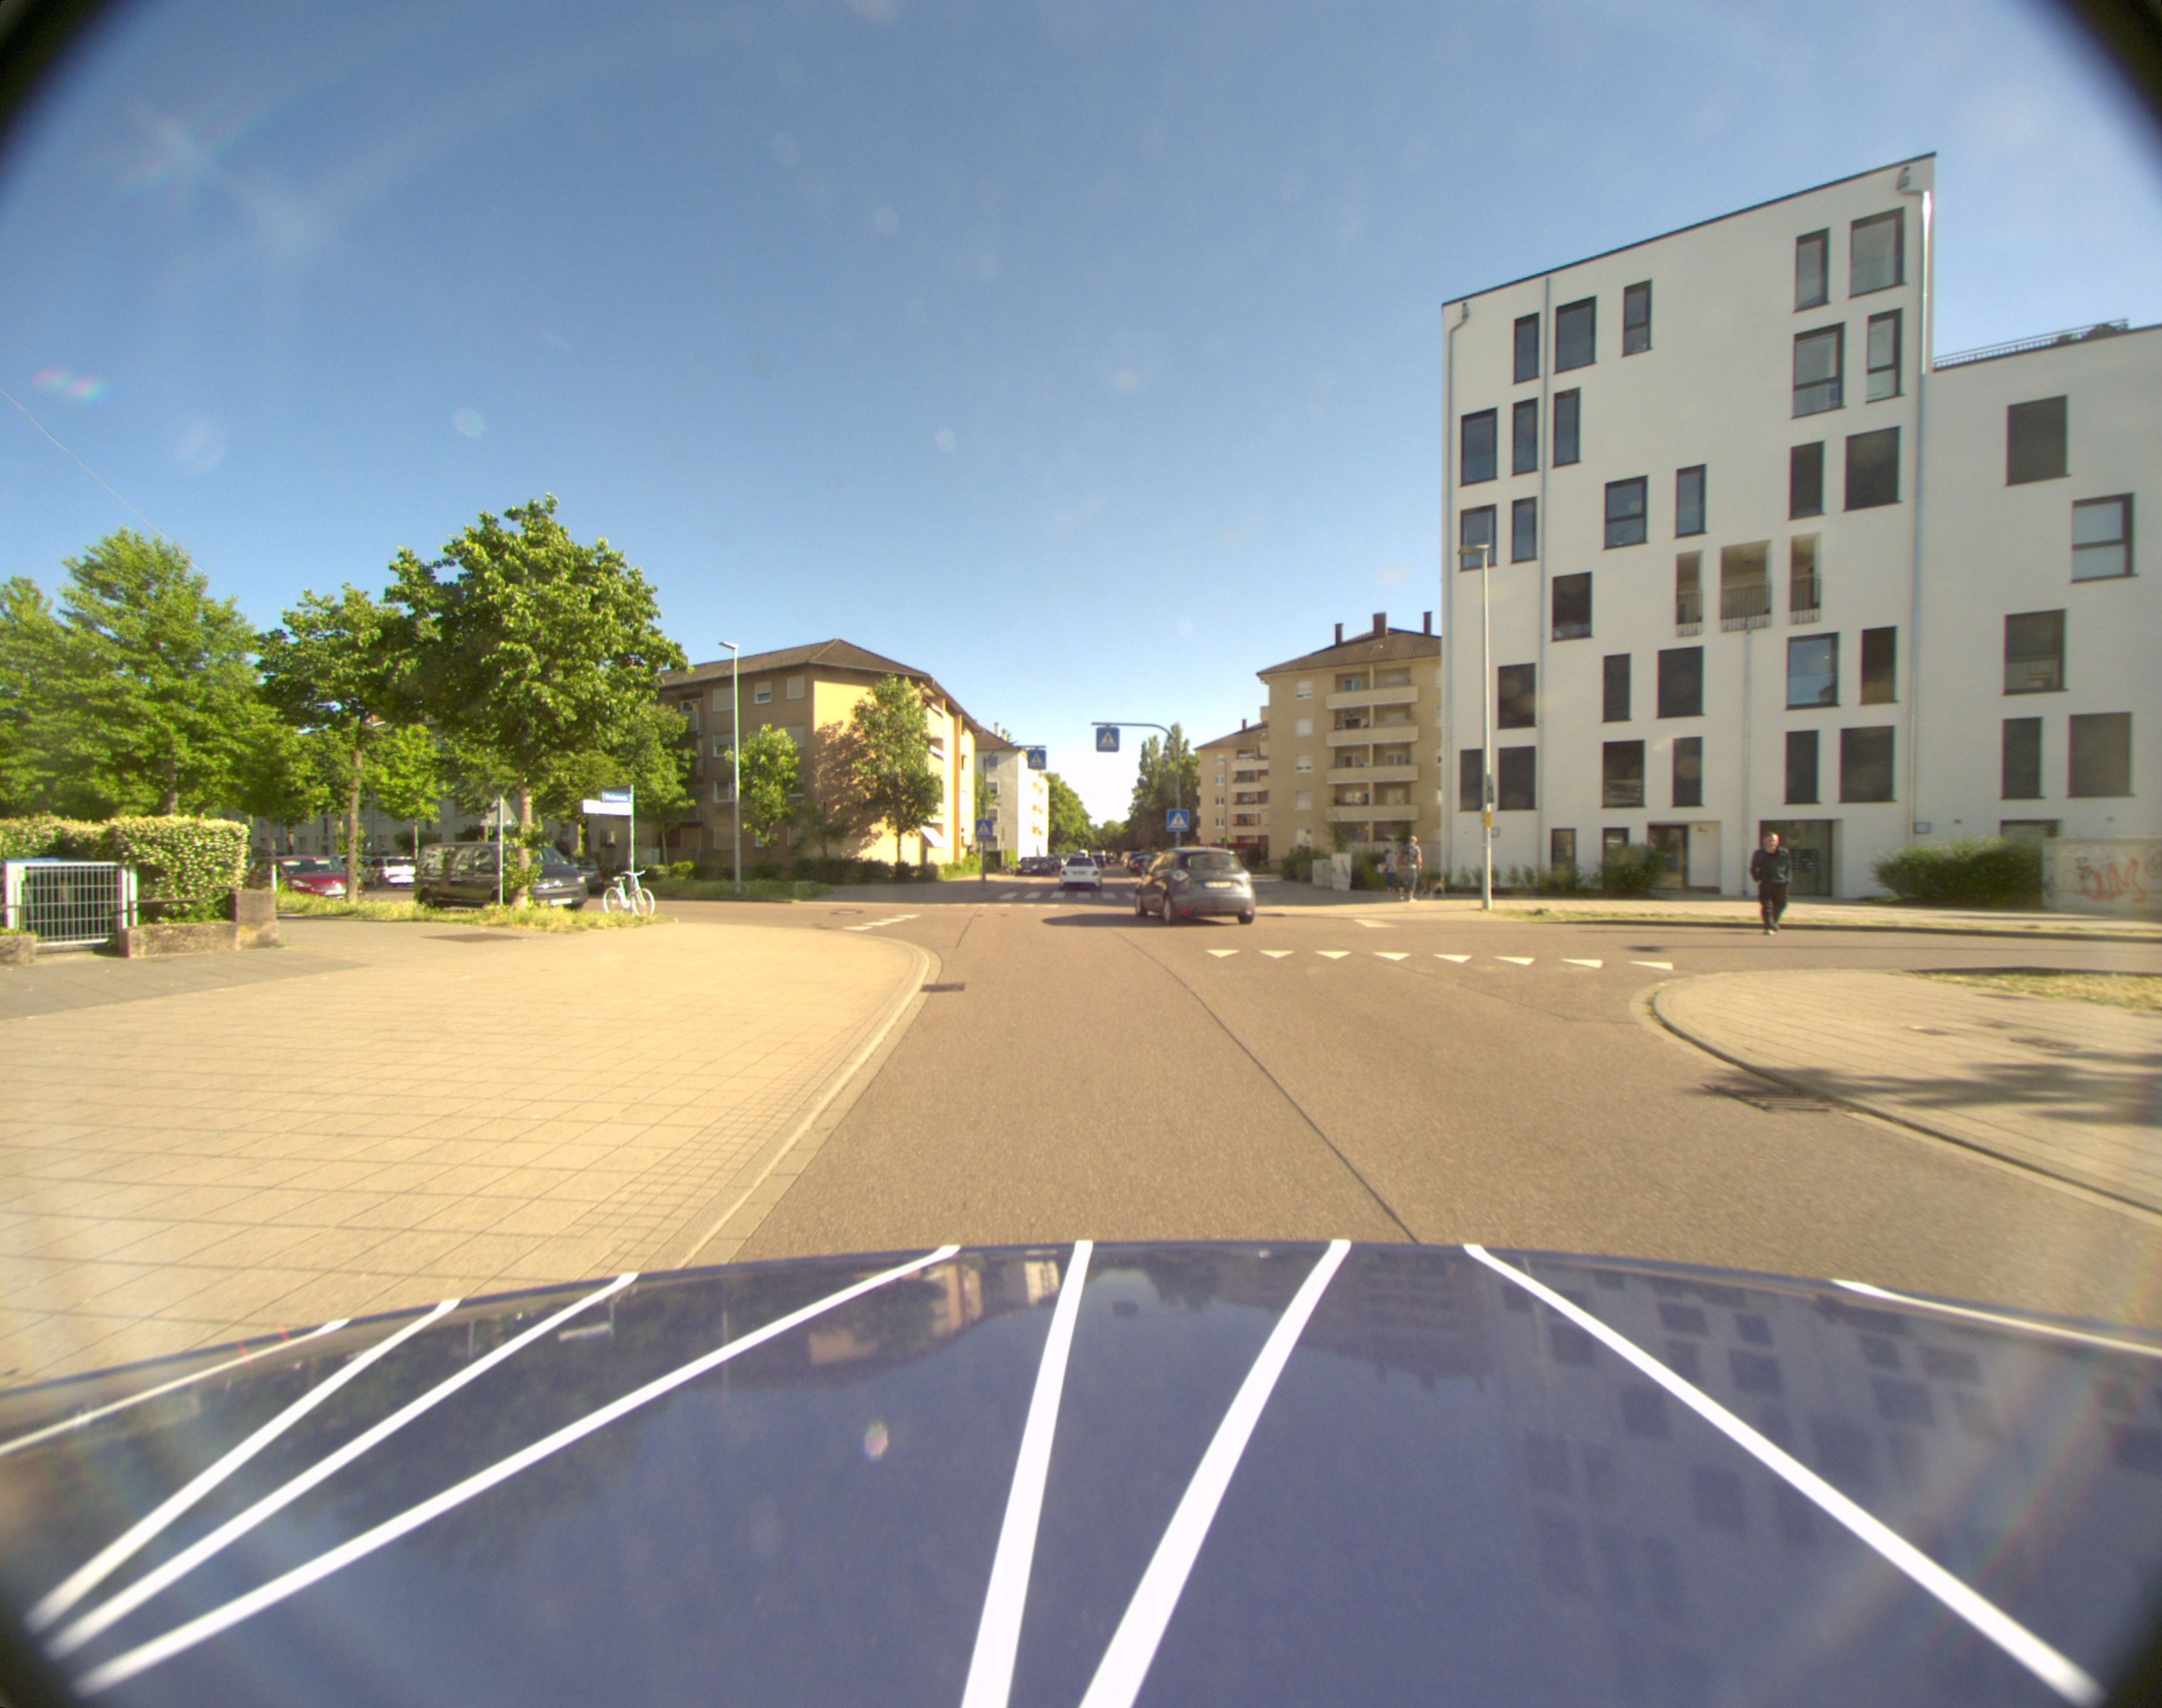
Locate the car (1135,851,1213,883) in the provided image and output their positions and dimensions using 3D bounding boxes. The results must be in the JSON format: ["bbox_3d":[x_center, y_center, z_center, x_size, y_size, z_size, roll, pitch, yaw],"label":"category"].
[{"bbox_3d":[5.329,0.700,43.388,4.006,1.642,1.995,-2,1,-30],"label":"car"}]

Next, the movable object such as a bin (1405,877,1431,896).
[{"bbox_3d":[10.625,1.017,23.982,0.273,0.538,0.684,-1,2,-42],"label":"movable object such as a bin"}]

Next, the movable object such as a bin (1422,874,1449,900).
[{"bbox_3d":[10.224,0.939,21.932,0.272,0.676,0.848,0,2,-11],"label":"movable object such as a bin"}]

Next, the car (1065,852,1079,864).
[{"bbox_3d":[-1.334,0.613,112.808,1.998,1.685,3.998,0,2,0],"label":"car"}]

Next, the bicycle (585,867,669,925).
[{"bbox_3d":[-10.185,0.921,17.042,2.025,1.187,0.530,1,2,24],"label":"bicycle"}]

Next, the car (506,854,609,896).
[{"bbox_3d":[-21.534,0.830,31.233,4.097,1.553,1.729,1,0,27],"label":"car"}]

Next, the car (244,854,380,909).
[{"bbox_3d":[-25.961,0.863,25.623,4.958,1.604,1.908,1,2,29],"label":"car"}]

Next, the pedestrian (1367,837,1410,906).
[{"bbox_3d":[9.663,0.534,23.894,0.776,2.108,0.957,-1,1,-19],"label":"pedestrian"}]

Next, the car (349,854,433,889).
[{"bbox_3d":[-34.554,0.838,38.036,3.989,1.518,1.725,1,3,27],"label":"car"}]

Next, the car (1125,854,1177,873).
[{"bbox_3d":[6.123,0.816,66.291,4.004,1.248,1.995,-4,4,-24],"label":"car"}]

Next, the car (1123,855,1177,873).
[{"bbox_3d":[5.729,0.827,63.084,4.003,1.303,1.996,-1,2,-19],"label":"car"}]

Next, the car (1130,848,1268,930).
[{"bbox_3d":[2.328,0.673,16.158,1.842,1.495,4.136,-1,-1,-7],"label":"car"}]

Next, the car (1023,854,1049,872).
[{"bbox_3d":[-3.526,0.699,60.318,1.999,1.237,3.997,0,3,-2],"label":"car"}]

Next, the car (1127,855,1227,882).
[{"bbox_3d":[4.771,0.687,37.697,4.570,1.160,1.996,-2,1,-27],"label":"car"}]

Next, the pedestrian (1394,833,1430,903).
[{"bbox_3d":[9.114,0.374,20.941,0.789,1.875,0.847,1,3,17],"label":"pedestrian"}]

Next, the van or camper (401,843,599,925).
[{"bbox_3d":[-15.418,0.673,20.103,5.372,1.853,1.999,1,3,28],"label":"van or camper"}]

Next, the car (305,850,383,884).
[{"bbox_3d":[-39.223,0.686,40.442,4.212,1.669,1.712,1,0,27],"label":"car"}]

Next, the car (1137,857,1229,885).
[{"bbox_3d":[5.506,0.867,40.802,4.571,1.423,1.996,0,0,-27],"label":"car"}]

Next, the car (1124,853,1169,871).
[{"bbox_3d":[6.444,0.797,74.592,4.001,1.631,1.997,-1,3,-12],"label":"car"}]

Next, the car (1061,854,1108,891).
[{"bbox_3d":[0.088,0.777,34.259,1.891,1.496,4.637,-1,0,-2],"label":"car"}]

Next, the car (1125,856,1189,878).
[{"bbox_3d":[5.351,0.890,53.680,4.004,1.394,1.995,-1,3,-22],"label":"car"}]

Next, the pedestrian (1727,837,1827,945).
[{"bbox_3d":[11.460,0.577,12.556,0.977,1.704,0.875,0,1,24],"label":"pedestrian"}]

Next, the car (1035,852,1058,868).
[{"bbox_3d":[-3.239,0.556,71.425,1.998,1.456,3.999,0,0,0],"label":"car"}]

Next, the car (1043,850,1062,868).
[{"bbox_3d":[-2.841,0.504,76.595,1.845,1.747,3.999,1,0,-1],"label":"car"}]

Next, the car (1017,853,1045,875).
[{"bbox_3d":[-3.635,0.691,54.992,1.908,1.506,3.998,1,0,-5],"label":"car"}]
